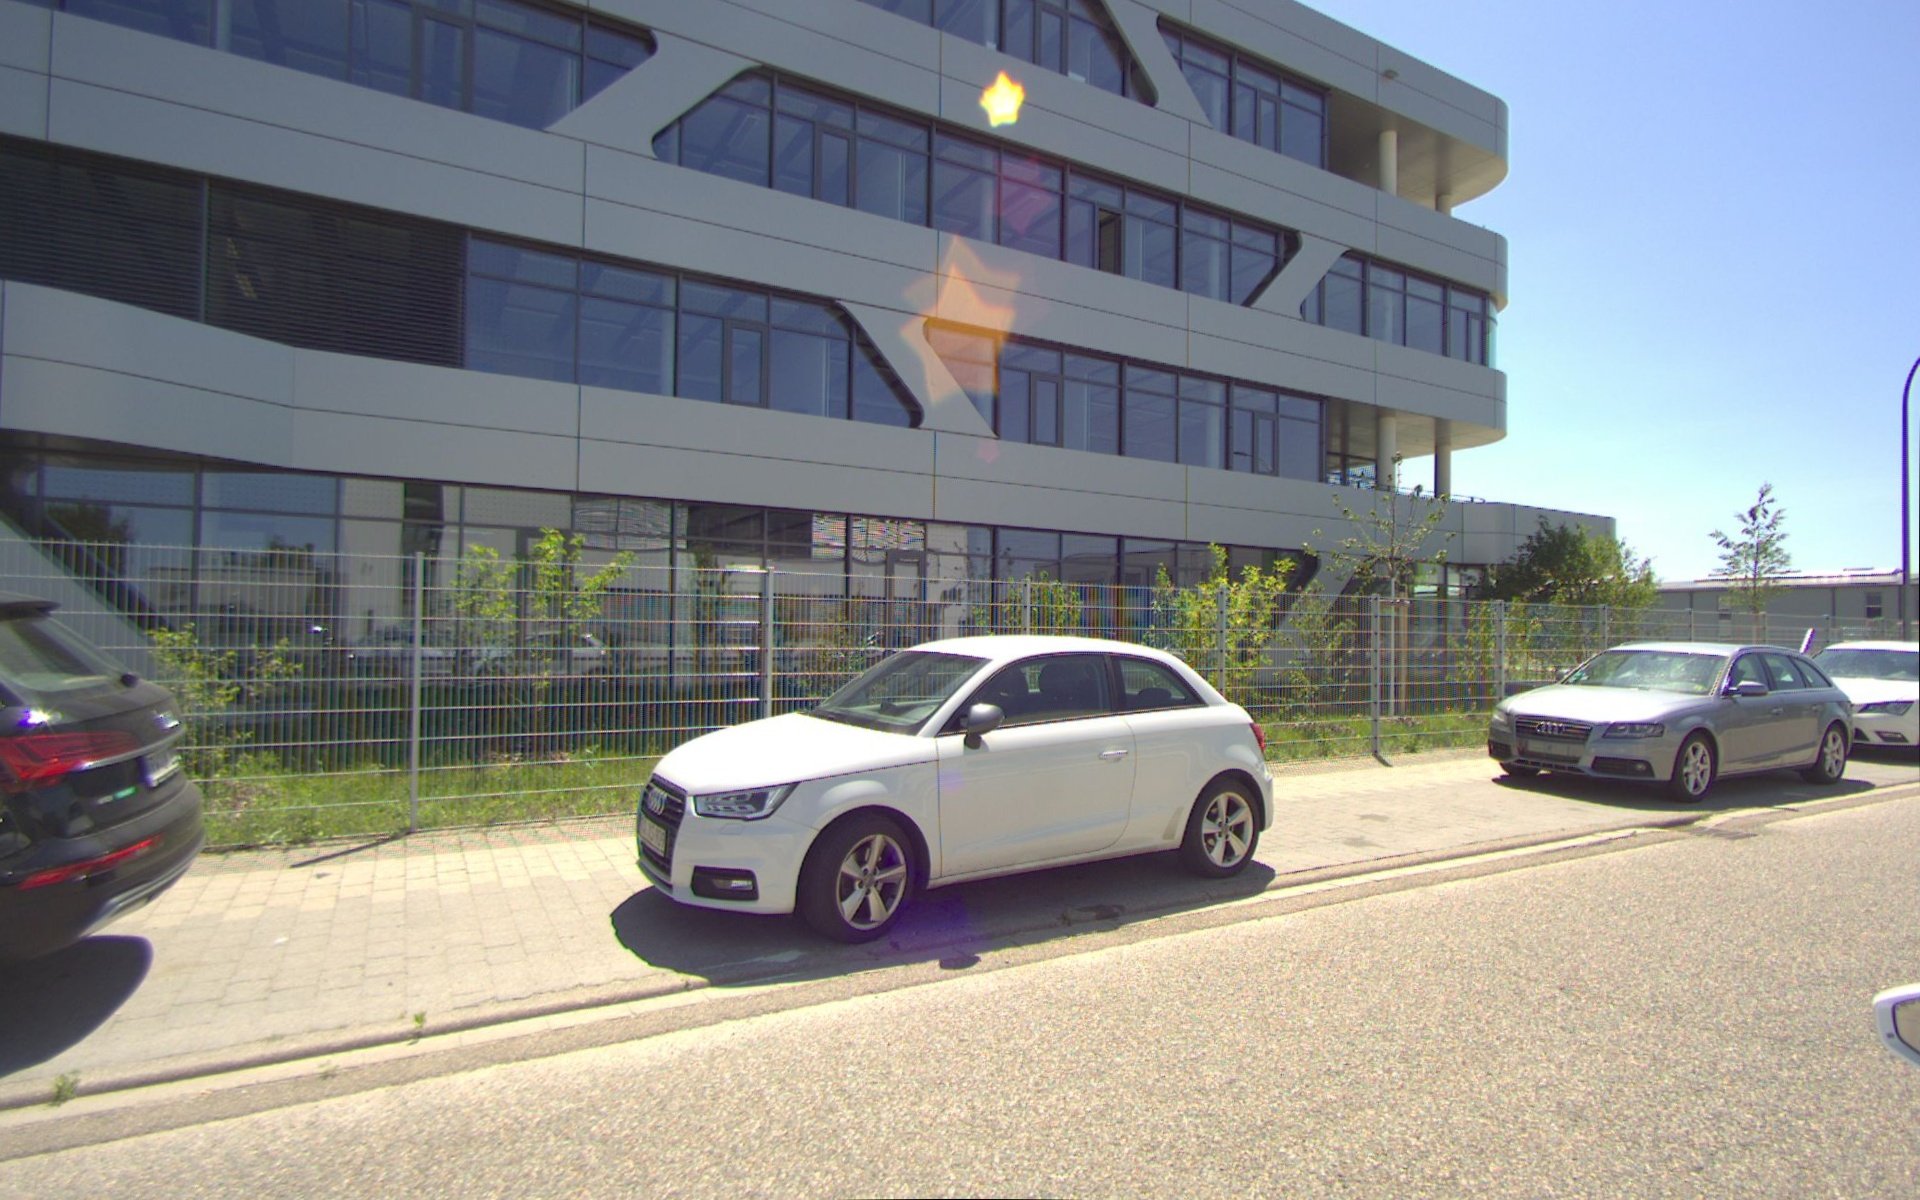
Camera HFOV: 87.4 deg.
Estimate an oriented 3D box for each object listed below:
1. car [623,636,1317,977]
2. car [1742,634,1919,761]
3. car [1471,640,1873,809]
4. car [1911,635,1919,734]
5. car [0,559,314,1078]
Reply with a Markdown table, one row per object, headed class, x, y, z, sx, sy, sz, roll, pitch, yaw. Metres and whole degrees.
| class | x | y | z | sx | sy | sz | roll | pitch | yaw |
| --- | --- | --- | --- | --- | --- | --- | --- | --- | --- |
| car | 0.182 | 0.934 | 6.021 | 3.895 | 1.404 | 1.689 | 1 | -1 | -33 |
| car | 12.770 | 1.248 | 13.840 | 4.389 | 1.463 | 1.694 | 2 | -1 | -31 |
| car | 7.535 | 1.145 | 10.519 | 4.583 | 1.404 | 1.676 | 1 | -1 | -30 |
| car | 17.433 | 1.392 | 16.340 | 4.520 | 1.556 | 1.694 | 2 | -1 | -31 |
| car | -5.008 | 0.684 | 3.200 | 4.790 | 1.673 | 1.762 | 1 | -1 | -29 |
